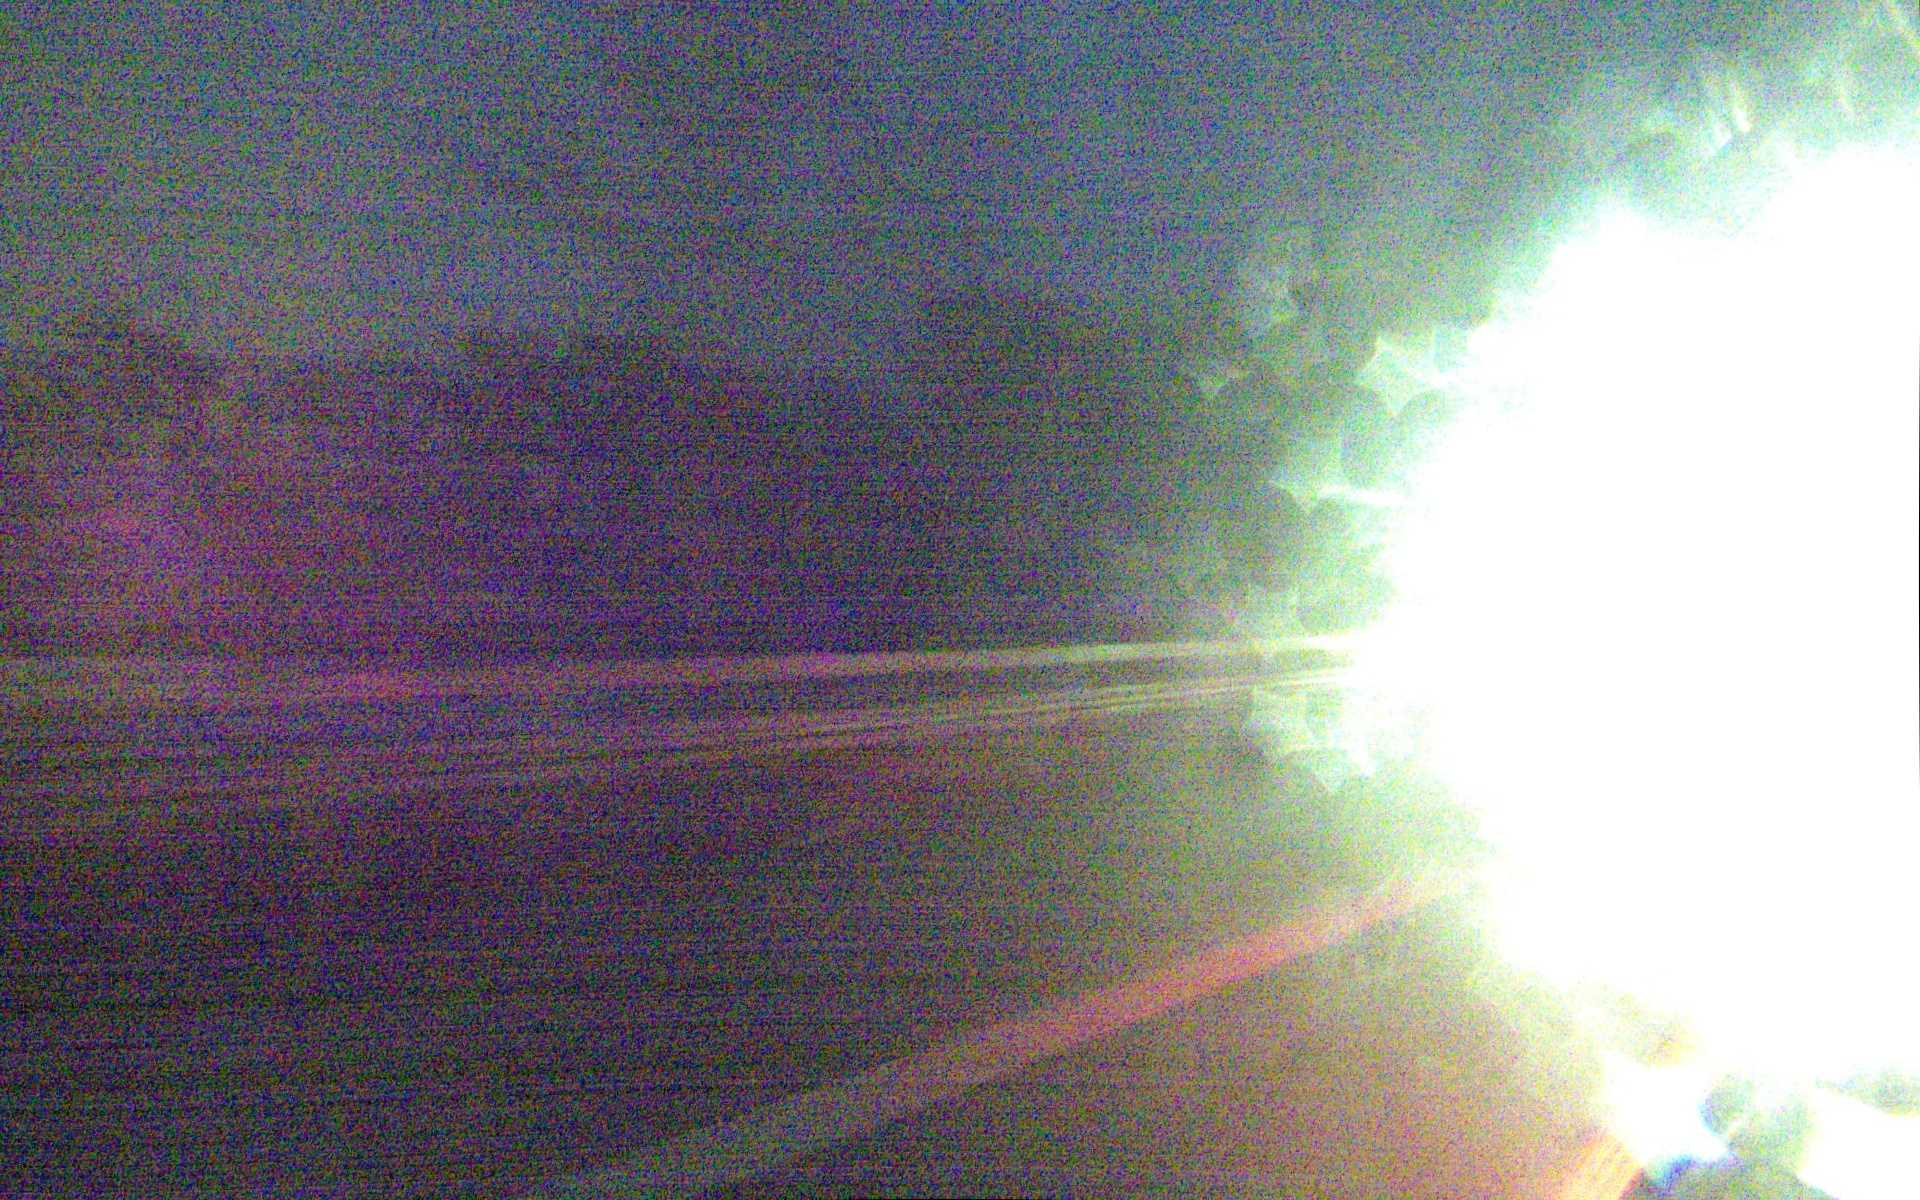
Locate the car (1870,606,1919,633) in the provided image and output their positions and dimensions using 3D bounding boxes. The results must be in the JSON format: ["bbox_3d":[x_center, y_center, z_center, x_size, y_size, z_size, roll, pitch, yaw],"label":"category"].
[{"bbox_3d":[54.450,1.105,58.993,1.805,1.505,3.532,-2,-1,39],"label":"car"}]

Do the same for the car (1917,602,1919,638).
[{"bbox_3d":[41.454,0.818,42.448,1.808,1.505,3.527,-2,-1,43],"label":"car"}]
